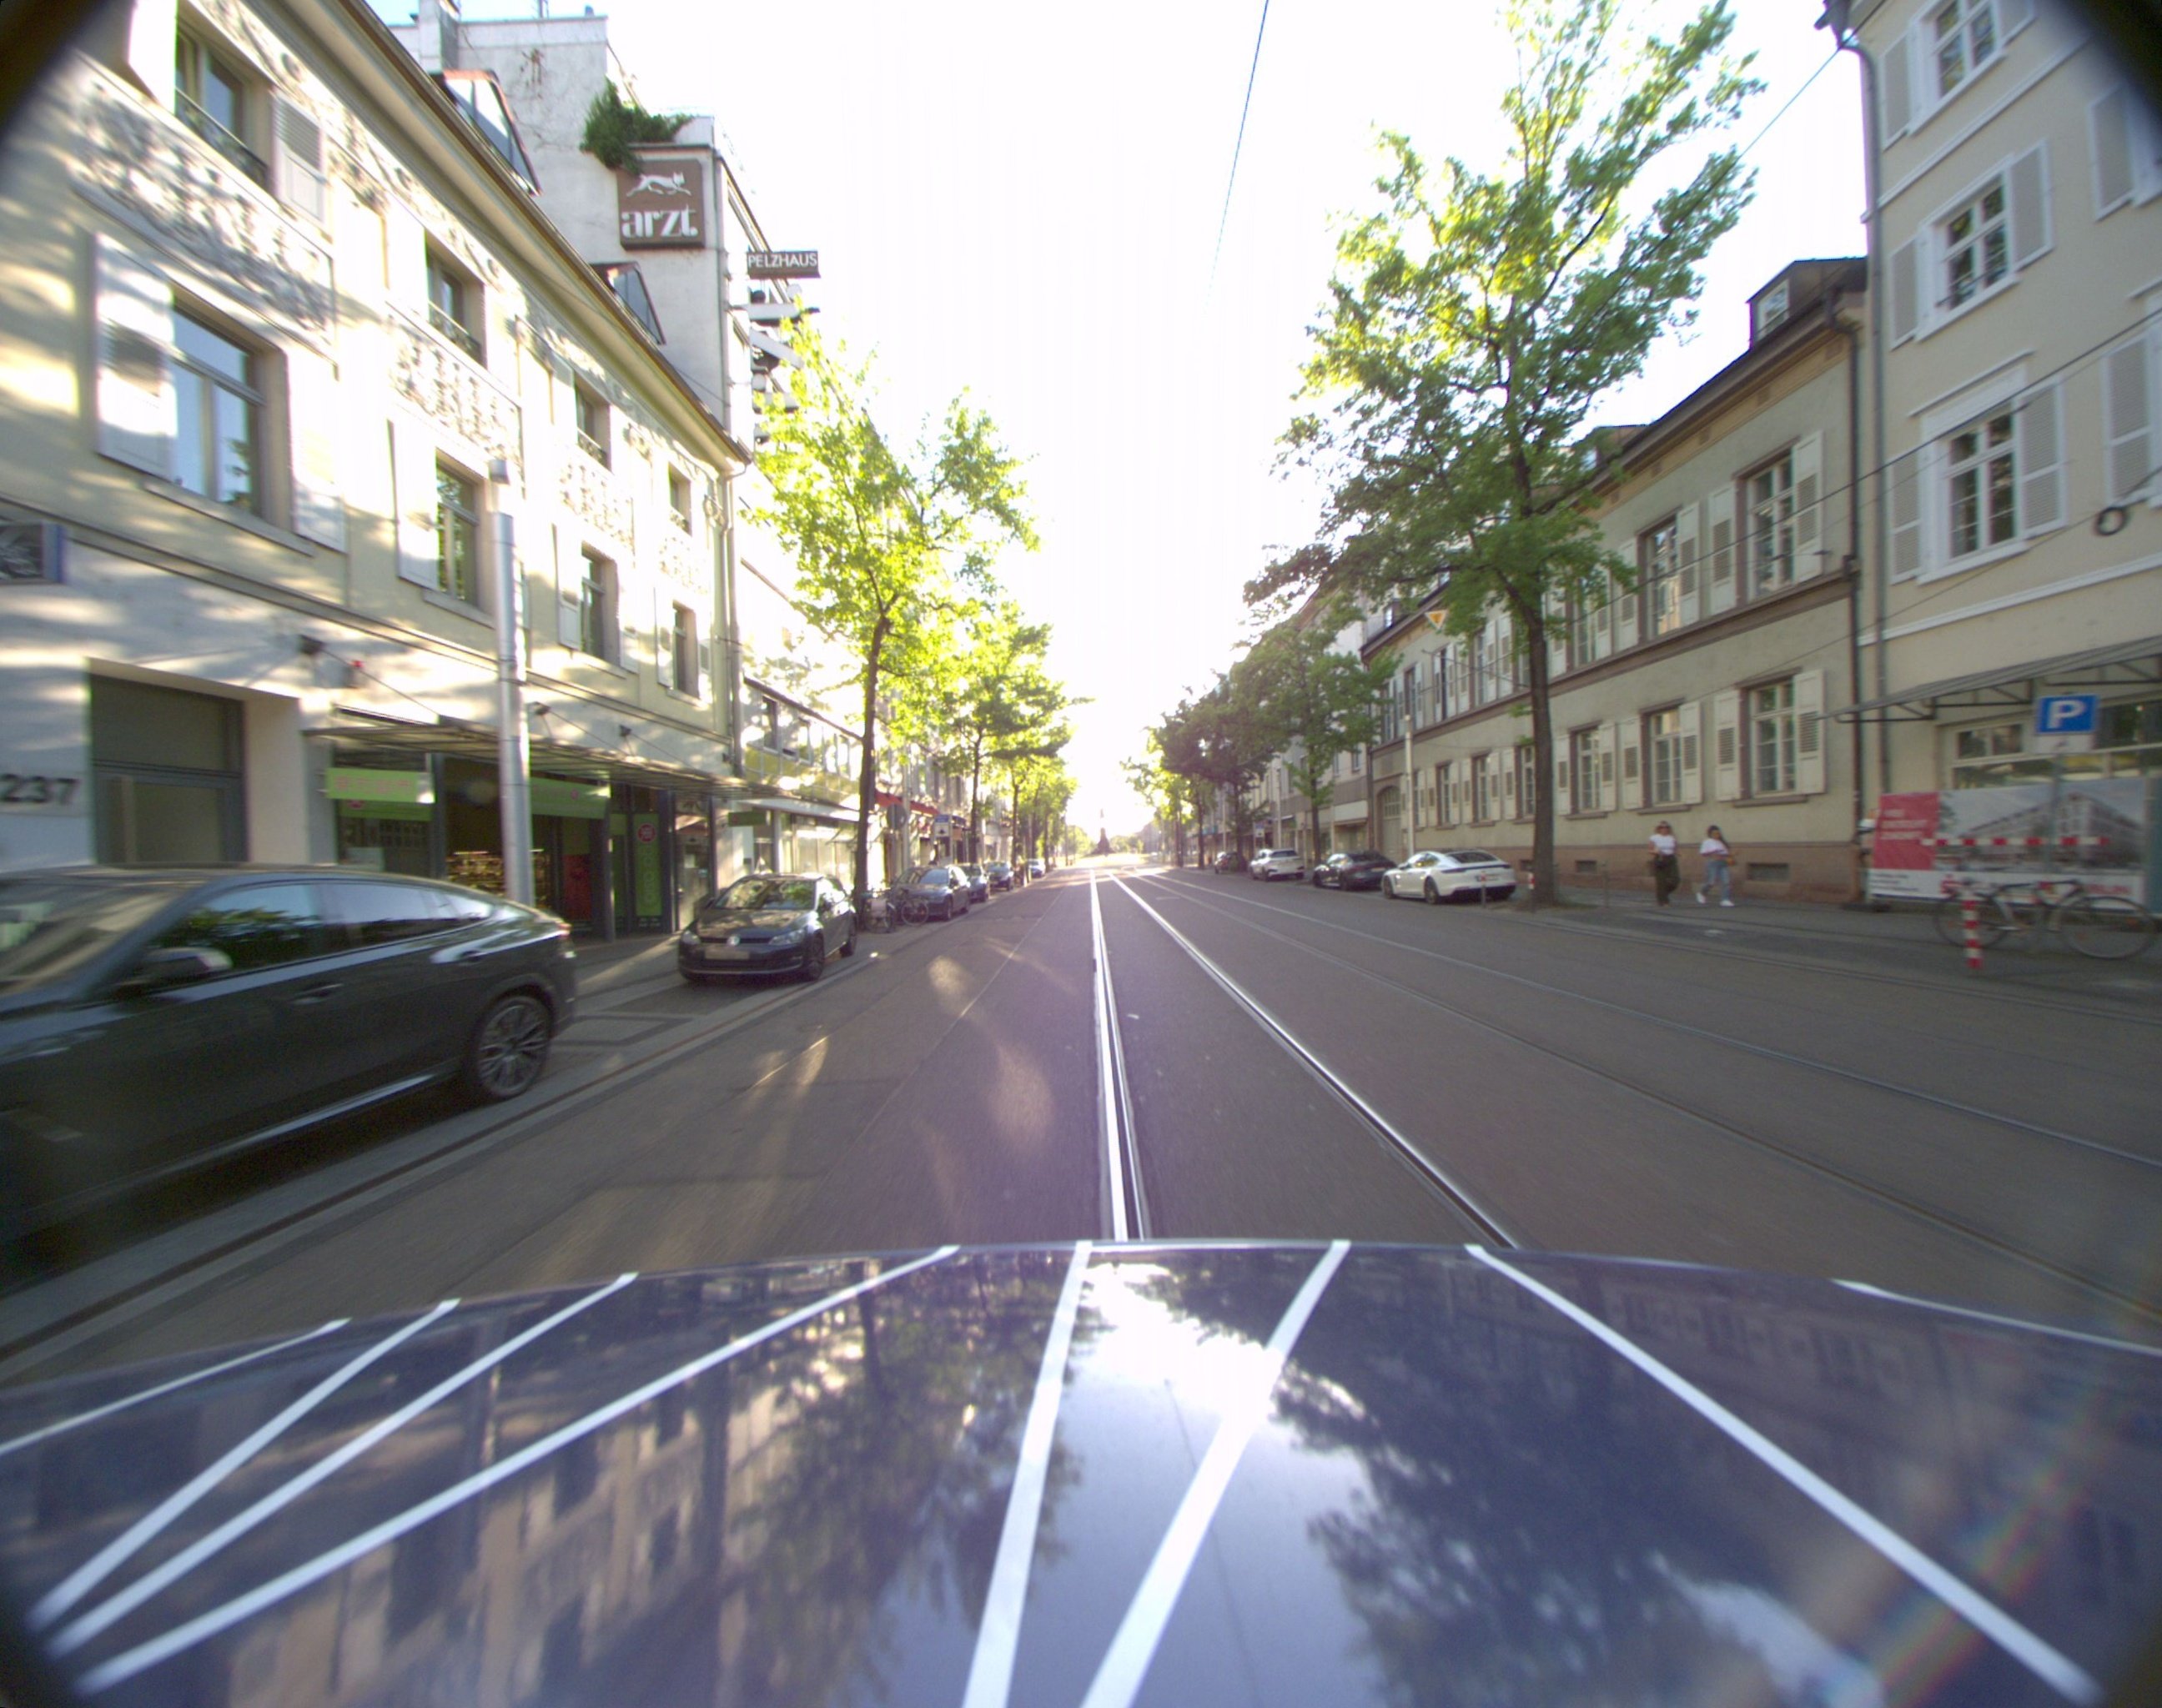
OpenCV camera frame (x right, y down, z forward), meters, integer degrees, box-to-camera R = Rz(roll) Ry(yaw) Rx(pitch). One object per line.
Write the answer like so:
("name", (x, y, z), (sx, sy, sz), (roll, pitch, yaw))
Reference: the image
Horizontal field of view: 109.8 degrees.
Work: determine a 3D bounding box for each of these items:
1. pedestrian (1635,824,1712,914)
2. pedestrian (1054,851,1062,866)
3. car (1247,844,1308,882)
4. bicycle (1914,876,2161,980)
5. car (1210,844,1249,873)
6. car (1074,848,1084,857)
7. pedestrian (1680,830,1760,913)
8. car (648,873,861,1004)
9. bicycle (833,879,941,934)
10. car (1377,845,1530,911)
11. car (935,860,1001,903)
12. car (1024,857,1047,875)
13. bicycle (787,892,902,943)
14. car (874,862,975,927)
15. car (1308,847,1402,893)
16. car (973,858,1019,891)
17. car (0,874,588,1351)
("pedestrian", (12.080, 0.302, 15.531), (0.746, 1.732, 0.933), (-4, 1, 2))
("pedestrian", (-2.828, 0.613, 94.748), (0.706, 1.858, 0.791), (-2, 1, -21))
("car", (10.271, 0.433, 40.093), (1.952, 1.731, 4.765), (-5, 0, 1))
("bicycle", (11.018, 0.793, 8.768), (0.628, 0.969, 1.894), (-4, 0, -3))
("car", (10.683, 0.316, 54.964), (1.931, 1.946, 4.765), (-1, 0, 1))
("car", (-0.340, -0.325, 144.518), (1.827, 1.603, 3.796), (-2, 0, 1))
("pedestrian", (12.897, 0.345, 15.356), (0.746, 1.571, 0.933), (-4, 1, 1))
("car", (-4.676, 1.104, 11.614), (1.871, 1.502, 4.242), (1, 0, -7))
("bicycle", (-4.598, 1.239, 18.126), (2.325, 1.181, 0.751), (-2, 1, 2))
("car", (9.938, 0.583, 20.734), (1.897, 1.458, 4.617), (-5, 0, 1))
("car", (-4.348, 1.024, 29.881), (1.870, 1.502, 4.286), (1, 0, 1))
("car", (-3.705, 0.971, 62.748), (1.564, 1.391, 3.697), (1, 0, 1))
("bicycle", (-5.046, 1.345, 16.263), (2.249, 0.982, 0.615), (-2, 1, 2))
("car", (-4.250, 1.054, 21.358), (1.770, 1.502, 4.287), (-2, 0, 2))
("car", (10.158, 0.569, 28.496), (1.745, 1.458, 4.342), (-5, 0, -2))
("car", (-4.232, 0.991, 38.548), (1.798, 1.502, 3.986), (1, 0, 1))
("car", (-5.047, 1.021, 3.765), (1.985, 1.679, 4.873), (1, 0, 1))
